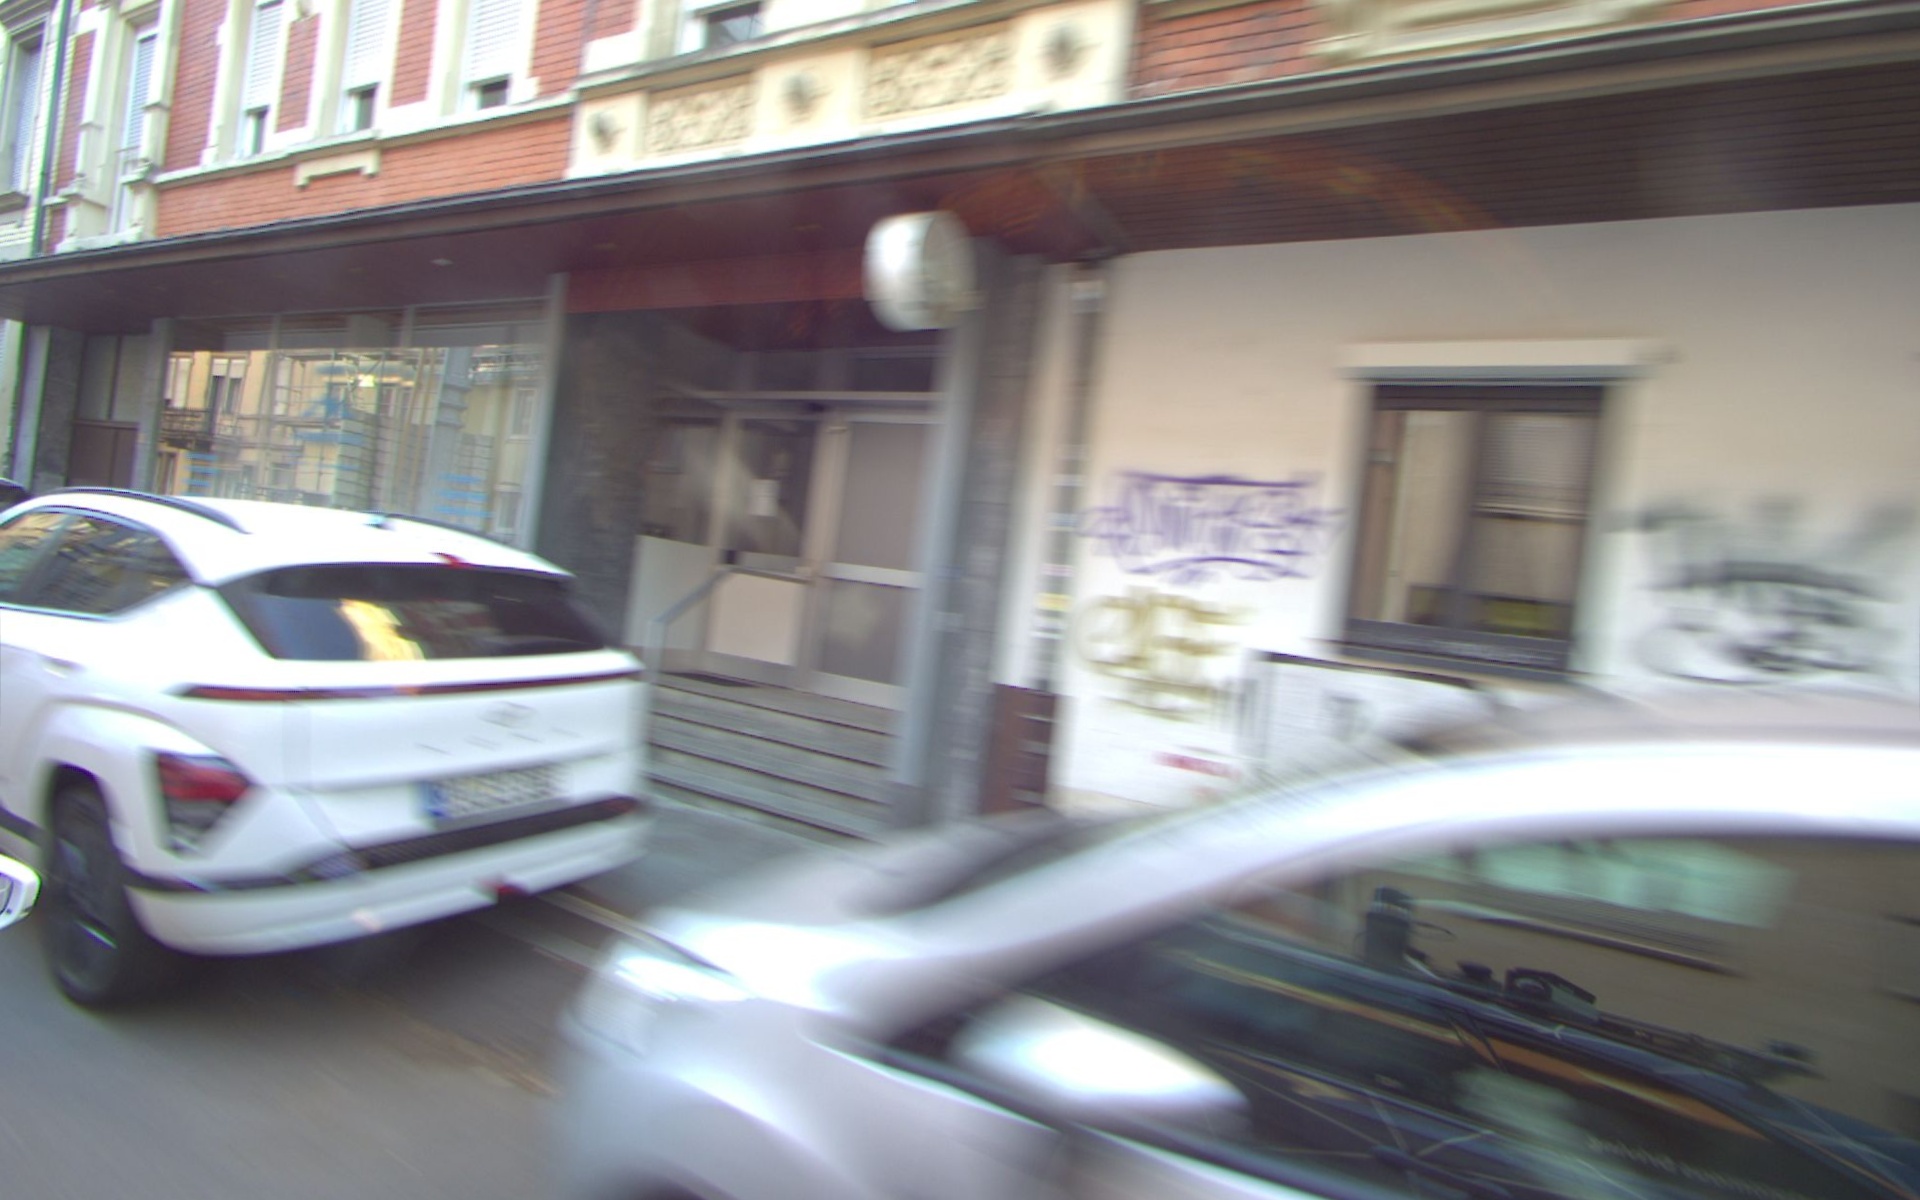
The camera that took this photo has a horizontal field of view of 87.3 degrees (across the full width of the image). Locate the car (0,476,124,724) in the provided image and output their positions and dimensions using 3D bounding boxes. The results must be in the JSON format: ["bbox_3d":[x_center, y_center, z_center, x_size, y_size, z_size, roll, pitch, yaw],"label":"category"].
[{"bbox_3d":[-7.782,-0.206,7.167,3.750,1.580,1.598,7,1,31],"label":"car"}]

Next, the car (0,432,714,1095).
[{"bbox_3d":[-3.351,0.279,4.445,4.267,1.696,1.749,7,0,31],"label":"car"}]

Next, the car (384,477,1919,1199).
[{"bbox_3d":[1.024,0.866,1.594,3.804,1.676,1.642,7,0,31],"label":"car"}]
